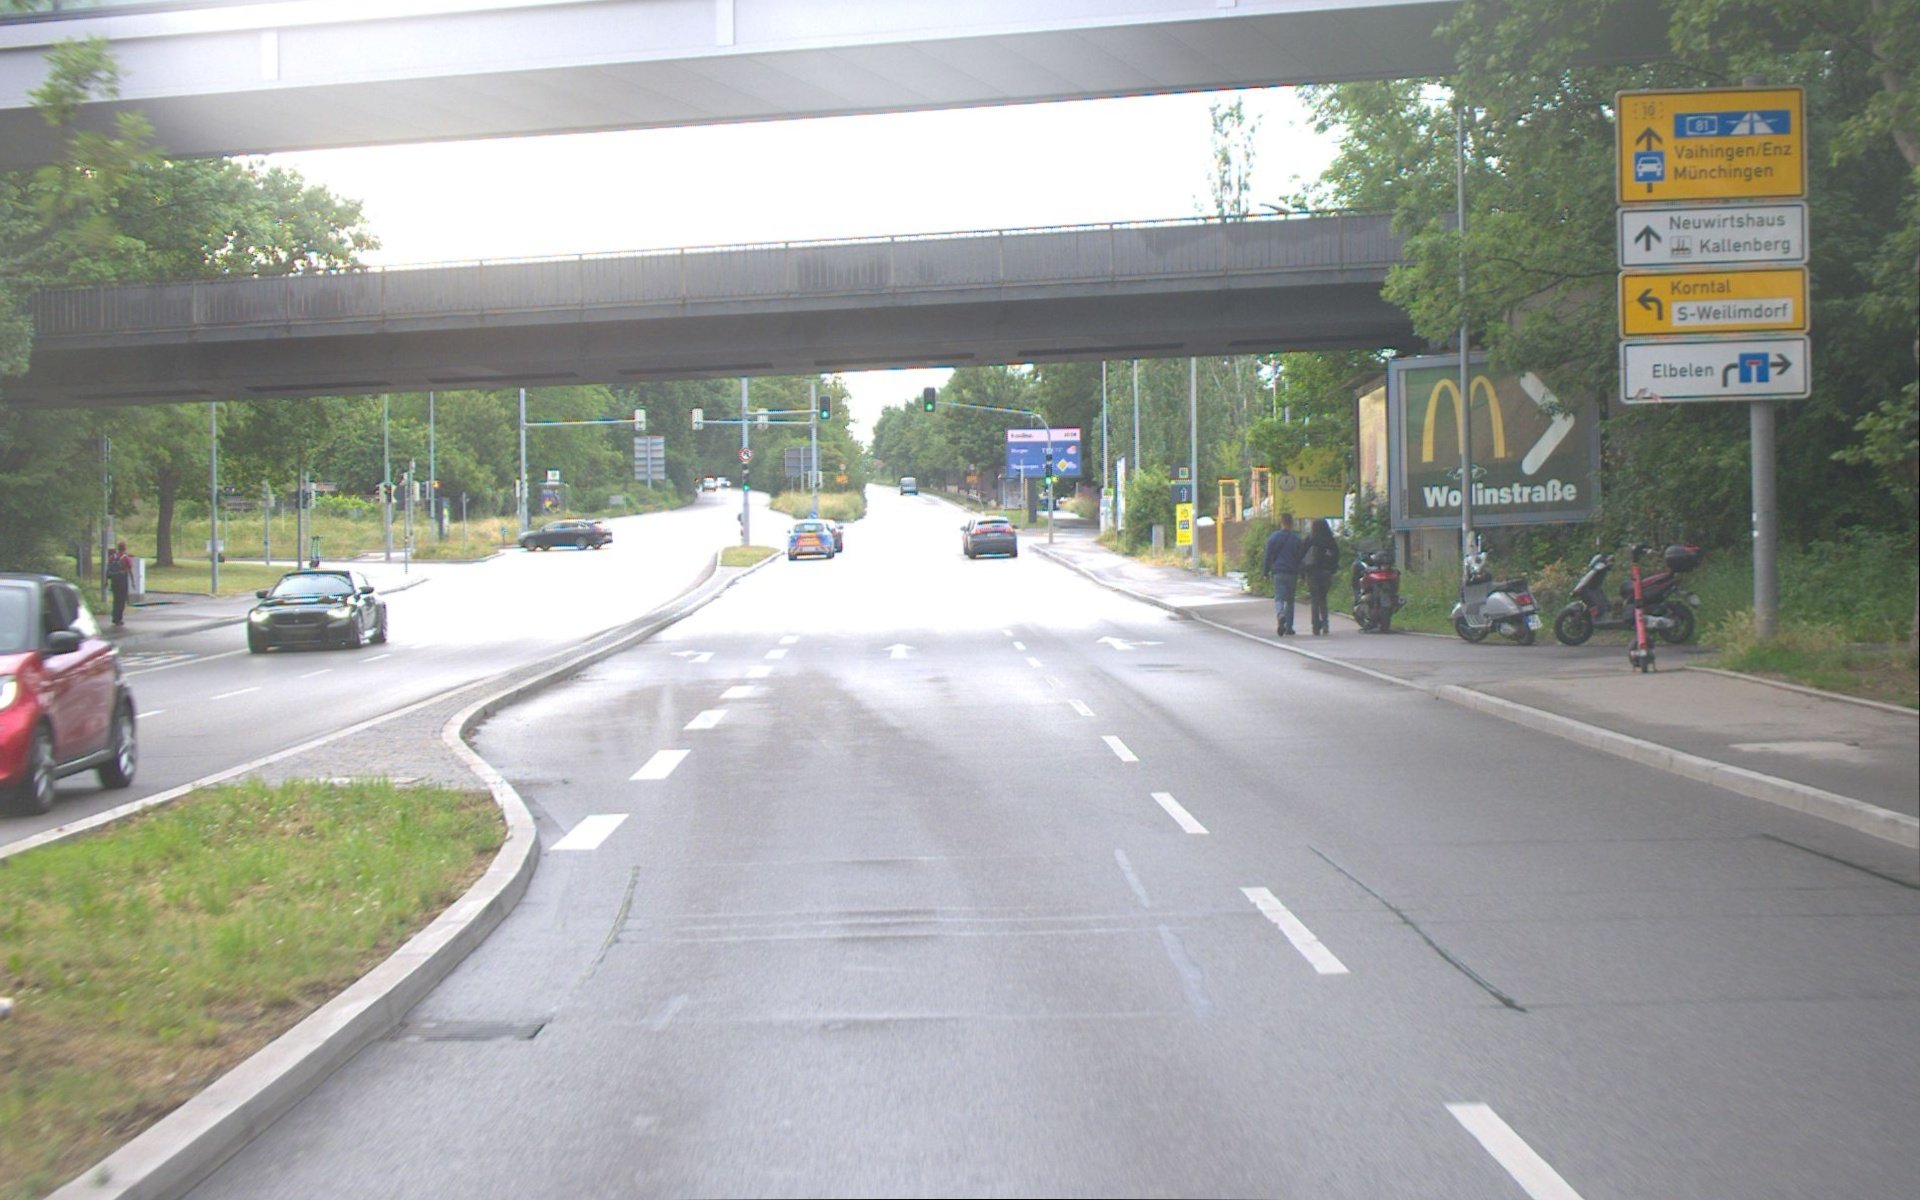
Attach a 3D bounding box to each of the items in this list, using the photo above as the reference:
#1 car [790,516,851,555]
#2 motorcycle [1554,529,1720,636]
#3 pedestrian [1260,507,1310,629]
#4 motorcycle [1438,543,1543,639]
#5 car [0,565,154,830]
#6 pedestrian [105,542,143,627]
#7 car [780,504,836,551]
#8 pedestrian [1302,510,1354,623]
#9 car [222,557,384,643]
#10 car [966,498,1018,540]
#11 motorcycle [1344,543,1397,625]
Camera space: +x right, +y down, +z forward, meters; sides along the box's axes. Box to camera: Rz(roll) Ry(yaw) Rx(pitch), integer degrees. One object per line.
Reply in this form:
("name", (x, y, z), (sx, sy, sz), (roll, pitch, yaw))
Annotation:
("car", (-5.950, -2.768, 147.399), (2.166, 1.577, 4.663), (1, 0, 3))
("motorcycle", (8.423, -0.209, 42.837), (1.942, 1.293, 0.546), (-1, 1, 34))
("pedestrian", (4.646, -0.456, 49.179), (0.611, 1.715, 0.891), (-1, 1, 9))
("motorcycle", (6.891, -0.117, 44.745), (0.469, 1.209, 1.945), (-2, 1, -19))
("car", (-6.577, 0.606, 22.688), (1.585, 1.600, 3.856), (-3, 1, -1))
("pedestrian", (-18.021, -0.346, 74.119), (0.520, 1.809, 0.799), (0, 1, 9))
("car", (-5.862, -2.766, 132.218), (2.076, 1.712, 4.199), (1, 0, -3))
("pedestrian", (5.251, -0.477, 49.034), (0.651, 1.590, 0.578), (-1, 1, 11))
("car", (-11.460, -0.028, 60.250), (2.063, 1.357, 4.757), (-2, 1, -2))
("car", (1.141, -2.958, 125.569), (1.744, 1.465, 4.167), (0, 2, -2))
("motorcycle", (5.848, -0.235, 49.044), (0.469, 1.133, 1.819), (-2, 1, -1))
